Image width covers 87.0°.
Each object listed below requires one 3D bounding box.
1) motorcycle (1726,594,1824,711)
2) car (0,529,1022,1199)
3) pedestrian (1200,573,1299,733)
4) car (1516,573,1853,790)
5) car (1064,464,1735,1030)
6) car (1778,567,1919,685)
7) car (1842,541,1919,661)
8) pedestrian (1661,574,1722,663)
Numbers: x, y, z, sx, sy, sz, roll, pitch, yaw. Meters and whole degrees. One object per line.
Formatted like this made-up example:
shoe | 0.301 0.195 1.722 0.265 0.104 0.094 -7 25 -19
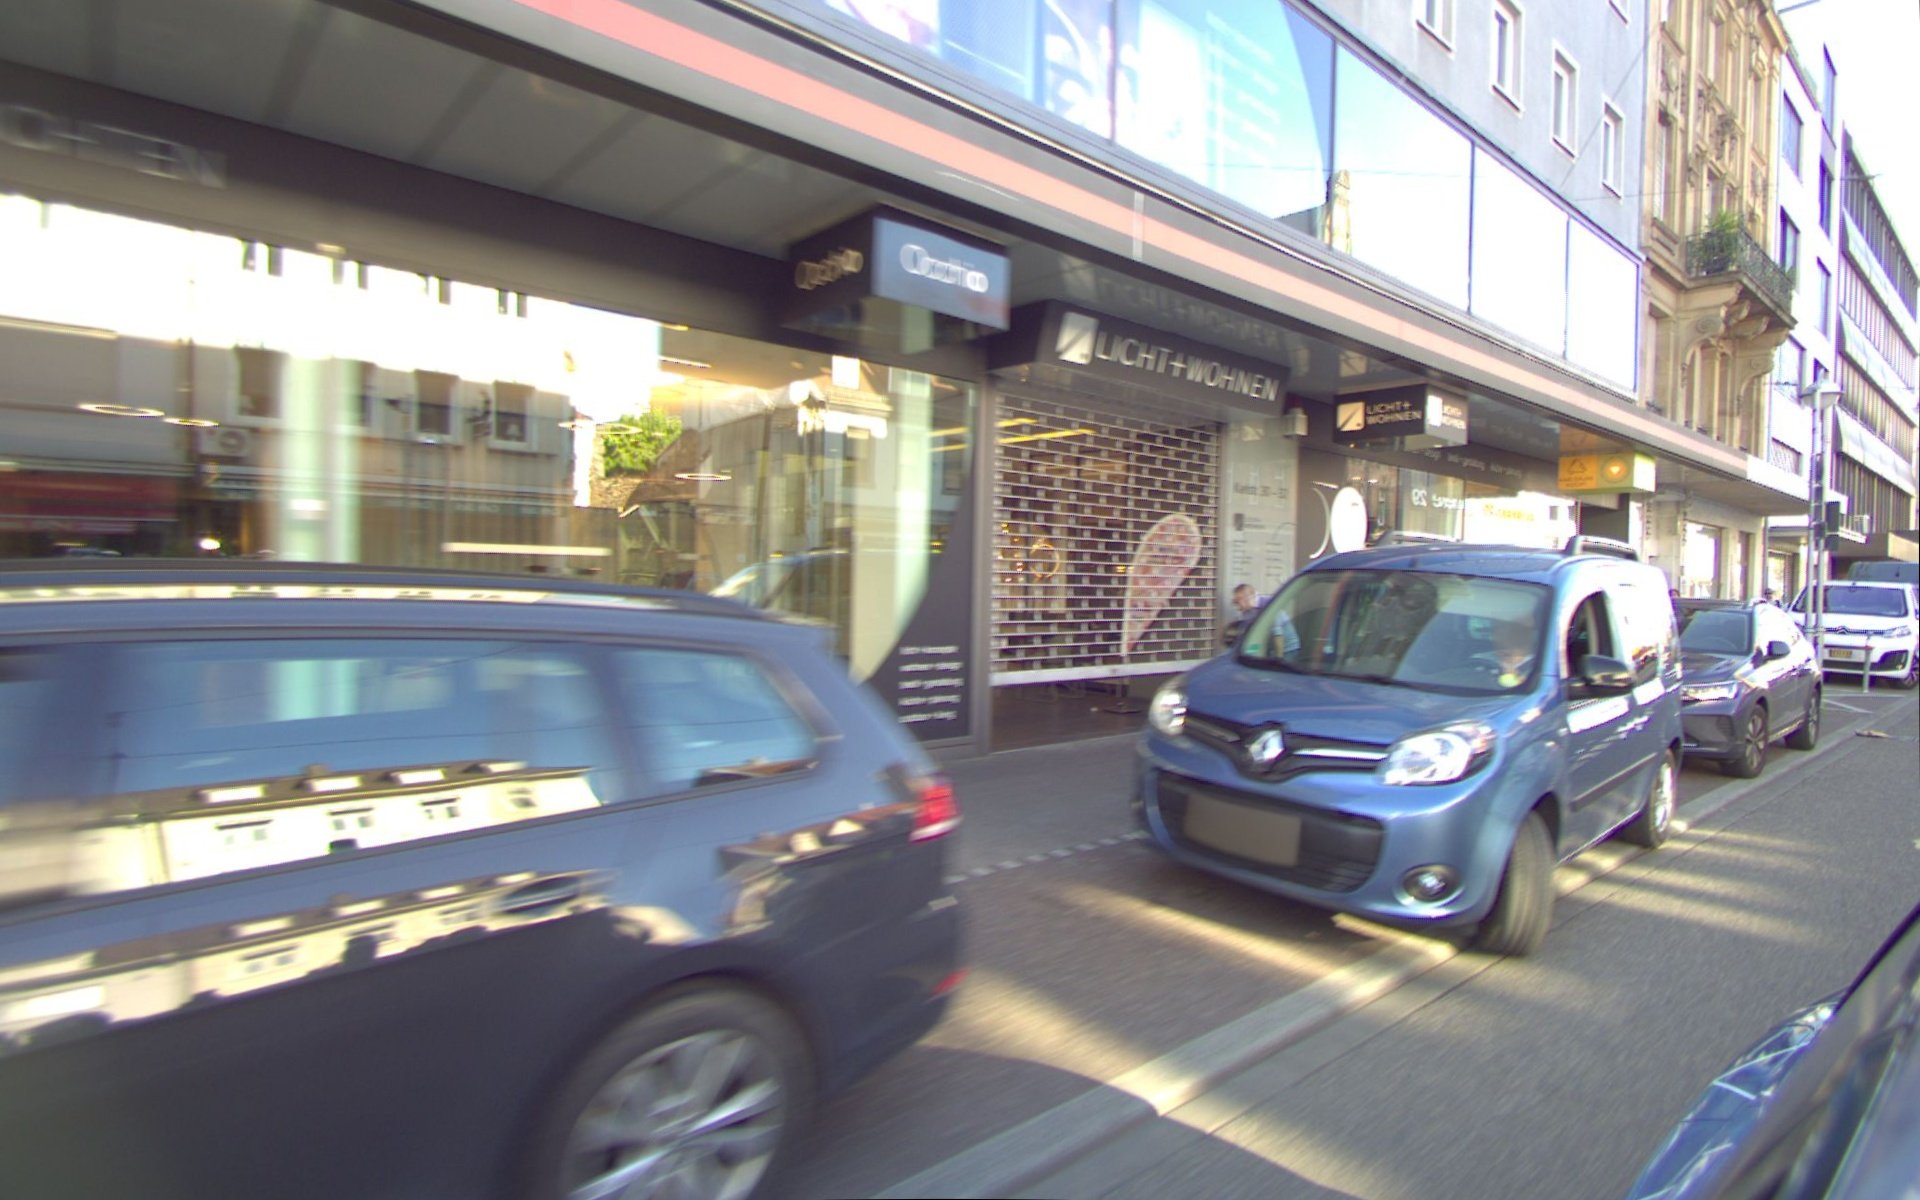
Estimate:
motorcycle | 11.193 0.658 13.869 2.283 1.449 0.660 -1 2 -42
car | -2.054 0.628 1.783 4.340 1.502 1.725 -1 4 -41
pedestrian | 2.809 0.484 9.821 0.718 1.457 0.576 0 3 -41
car | 7.184 0.592 9.868 4.215 1.596 1.767 -1 4 -42
car | 2.721 0.421 5.578 4.476 1.882 1.817 -1 3 -45
car | 17.231 0.392 19.205 4.798 1.934 2.048 -1 3 -44
car | 22.170 0.080 23.394 5.588 2.533 2.048 2 -2 -42
pedestrian | 13.039 0.314 18.042 0.800 1.527 0.696 0 1 -41
